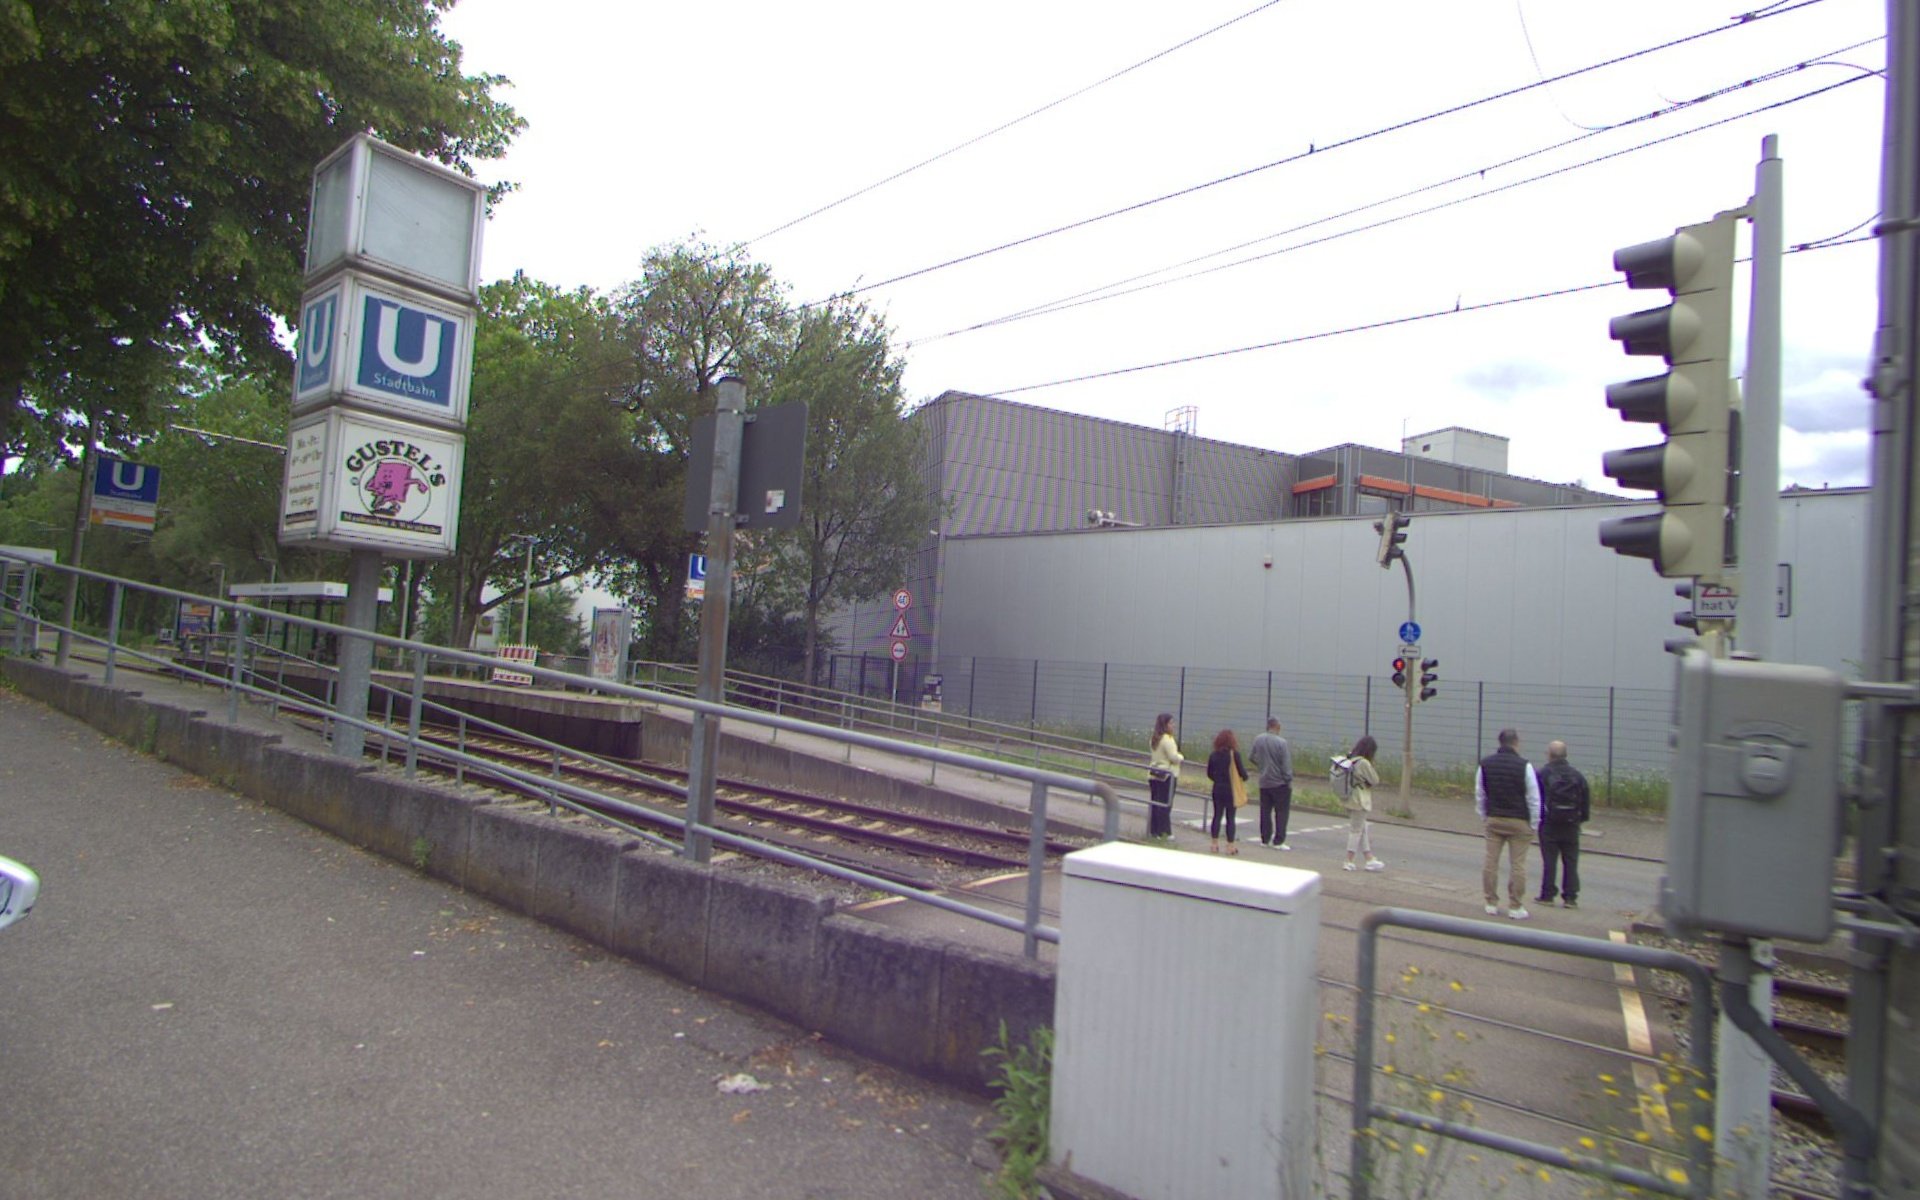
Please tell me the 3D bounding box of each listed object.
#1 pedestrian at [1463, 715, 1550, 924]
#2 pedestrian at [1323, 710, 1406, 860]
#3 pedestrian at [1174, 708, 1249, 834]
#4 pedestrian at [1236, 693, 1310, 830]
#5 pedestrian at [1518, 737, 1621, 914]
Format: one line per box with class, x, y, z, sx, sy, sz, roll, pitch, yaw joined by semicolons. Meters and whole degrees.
pedestrian;5.226;2.049;9.644;0.659;1.841;0.805;2;-4;28
pedestrian;4.905;2.216;12.188;0.727;1.681;0.680;0;-7;38
pedestrian;3.595;2.427;14.366;0.729;1.681;0.679;-1;-8;44
pedestrian;4.288;2.202;13.784;0.729;1.776;0.549;-1;-8;45
pedestrian;6.314;2.304;10.448;0.723;1.681;0.683;3;-6;16
